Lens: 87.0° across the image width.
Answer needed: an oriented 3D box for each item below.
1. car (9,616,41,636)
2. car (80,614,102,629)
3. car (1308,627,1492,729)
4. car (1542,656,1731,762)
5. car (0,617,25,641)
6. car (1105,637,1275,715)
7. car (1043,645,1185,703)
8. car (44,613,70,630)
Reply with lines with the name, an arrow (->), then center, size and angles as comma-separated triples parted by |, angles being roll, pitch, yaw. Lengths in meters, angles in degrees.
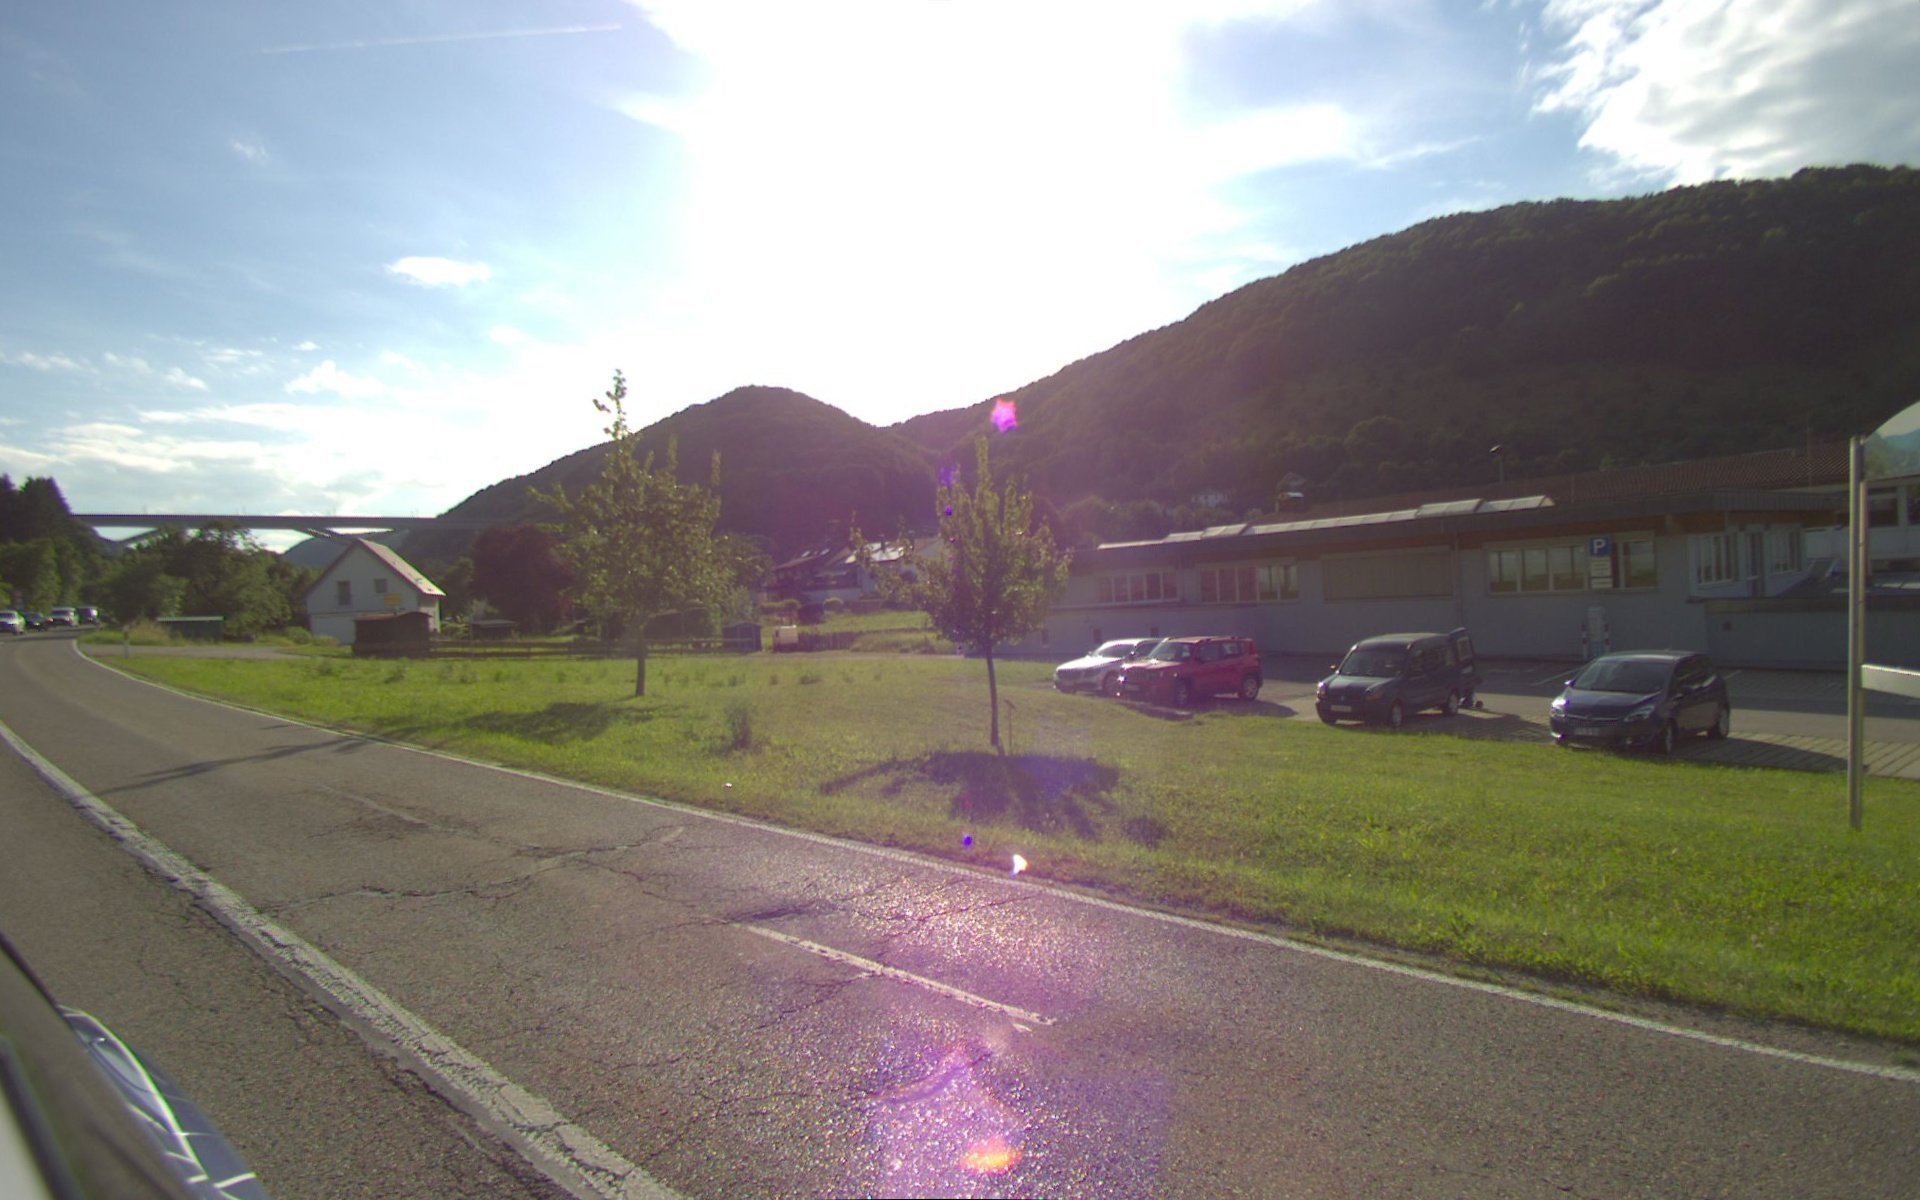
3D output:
car -> -72.355, 1.979, 78.343 | 1.605, 1.490, 3.686 | -1, 0, -40
car -> -90.297, 2.245, 105.193 | 1.605, 1.490, 3.686 | -1, 0, -40
car -> 9.628, 1.579, 21.941 | 4.930, 1.807, 1.687 | -1, 0, -41
car -> 11.859, 1.801, 17.650 | 3.958, 1.463, 1.687 | -1, -2, -41
car -> -62.858, 1.875, 66.679 | 3.680, 1.490, 1.608 | -1, 0, 43
car -> 5.945, 1.873, 25.986 | 4.263, 1.682, 1.852 | -1, 0, -35
car -> 4.383, 2.044, 28.561 | 3.836, 1.379, 1.857 | 0, 0, -38
car -> -81.999, 1.937, 91.887 | 1.607, 1.490, 3.682 | -1, 0, -44
